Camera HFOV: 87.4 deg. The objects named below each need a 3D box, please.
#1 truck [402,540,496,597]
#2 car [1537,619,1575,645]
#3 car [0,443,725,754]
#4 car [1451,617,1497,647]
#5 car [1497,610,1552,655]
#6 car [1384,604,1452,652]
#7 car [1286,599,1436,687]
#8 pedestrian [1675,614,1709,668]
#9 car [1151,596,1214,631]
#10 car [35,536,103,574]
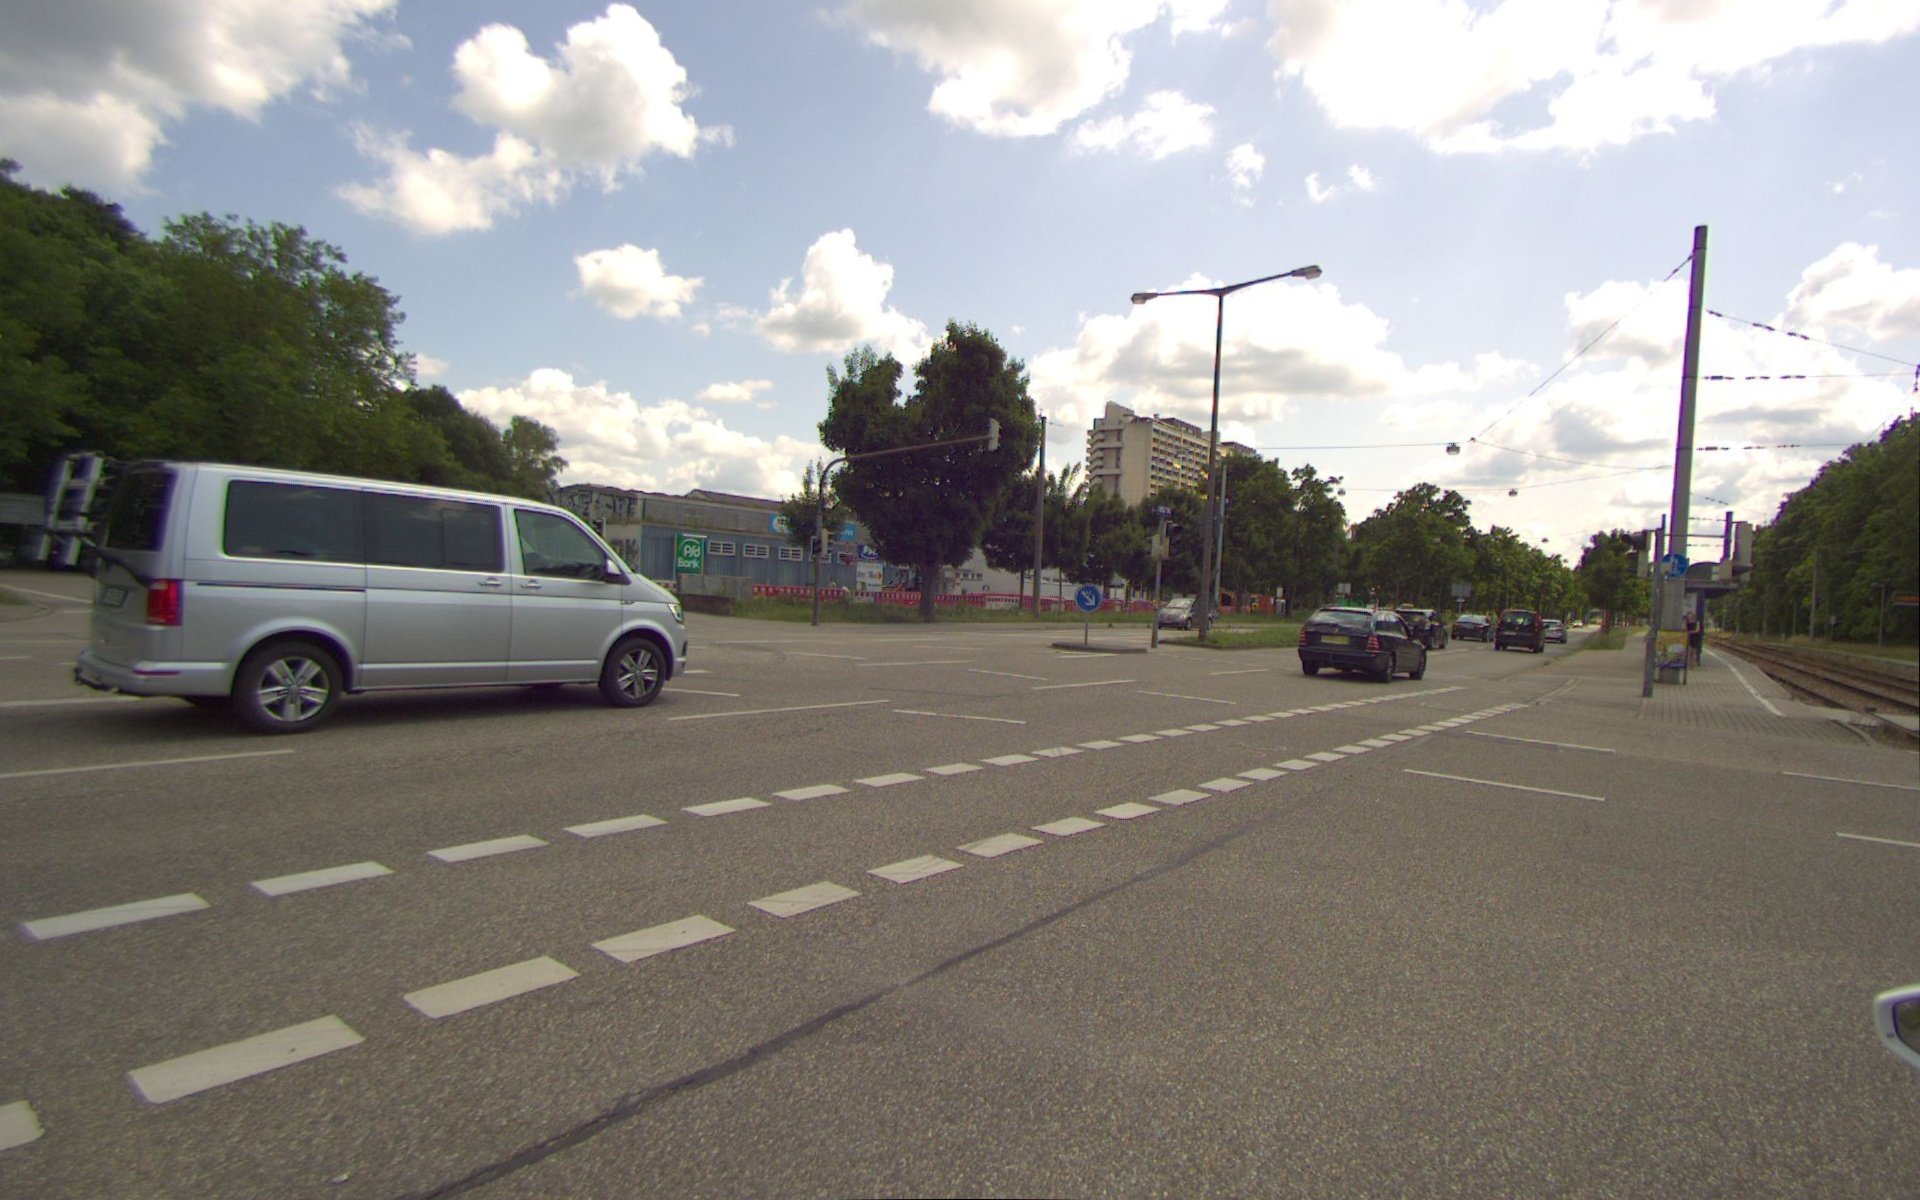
[{"bbox_3d":[-24.927,-1.555,48.840,3.010,2.472,6.915,2,1,-36],"label":"truck"},{"bbox_3d":[39.054,2.092,65.799,1.762,1.545,4.288,5,1,35],"label":"car"},{"bbox_3d":[-4.739,0.009,8.903,1.790,1.944,5.213,3,1,37],"label":"car"},{"bbox_3d":[29.109,1.794,56.806,1.838,1.524,3.989,5,1,33],"label":"car"},{"bbox_3d":[25.564,1.467,45.435,1.735,1.801,3.897,5,1,34],"label":"car"},{"bbox_3d":[18.249,1.104,39.941,1.761,1.690,4.329,5,1,33],"label":"car"},{"bbox_3d":[8.386,0.843,20.772,1.732,1.485,4.418,6,2,36],"label":"car"},{"bbox_3d":[21.501,1.188,29.524,0.644,1.534,0.717,3,1,27],"label":"pedestrian"},{"bbox_3d":[11.115,0.697,50.005,1.761,1.615,3.761,3,0,34],"label":"car"},{"bbox_3d":[-40.871,-2.073,46.066,3.561,1.528,1.614,5,2,37],"label":"car"}]
